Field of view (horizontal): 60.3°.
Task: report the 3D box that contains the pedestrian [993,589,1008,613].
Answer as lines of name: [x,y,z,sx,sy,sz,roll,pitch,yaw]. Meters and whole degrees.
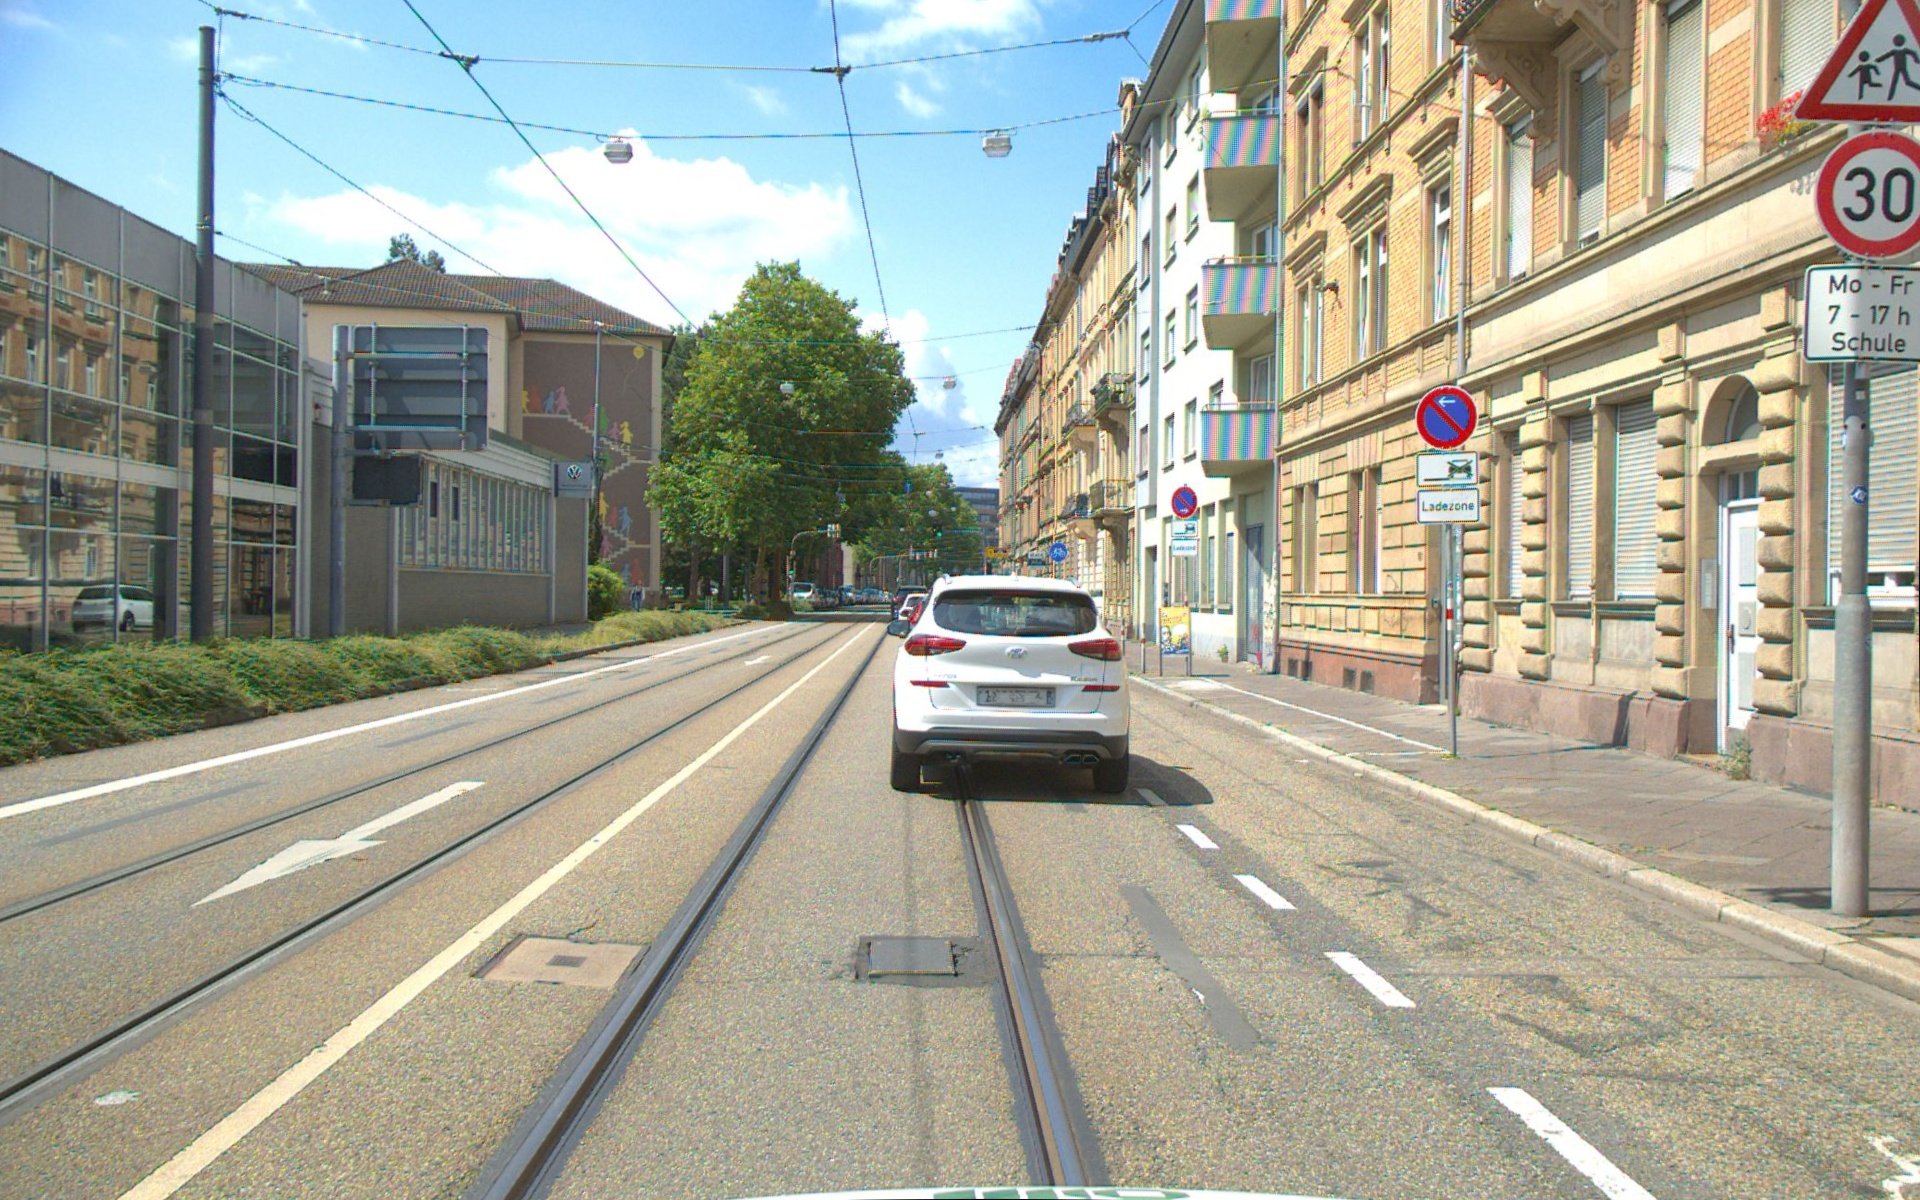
pedestrian: [2.650,0.063,107.839,0.919,1.600,1.049,1,0,-2]

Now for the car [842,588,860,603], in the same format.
car: [-12.047,-0.517,183.292,1.911,1.660,3.997,1,0,-4]

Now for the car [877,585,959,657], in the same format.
car: [-0.936,0.436,37.882,1.777,1.551,4.084,0,0,-1]

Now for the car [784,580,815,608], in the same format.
car: [-11.530,-0.454,119.105,1.911,1.928,4.564,1,0,-2]

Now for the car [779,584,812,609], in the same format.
car: [-11.248,-0.237,113.158,1.911,1.660,4.574,1,0,-2]

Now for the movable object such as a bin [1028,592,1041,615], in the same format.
movable object such as a bin: [3.814,0.189,85.133,0.600,1.163,0.638,1,0,-2]

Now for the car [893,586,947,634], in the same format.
car: [-1.345,0.324,55.703,1.778,1.551,3.954,0,0,-1]

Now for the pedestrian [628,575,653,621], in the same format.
pedestrian: [-13.404,-0.102,69.413,0.862,1.898,1.080,-1,0,-1]

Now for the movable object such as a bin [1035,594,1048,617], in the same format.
movable object such as a bin: [4.109,0.292,83.711,0.600,1.163,0.638,1,0,-2]

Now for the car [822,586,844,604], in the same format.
car: [-11.672,-0.471,152.045,1.911,1.660,3.997,1,0,-4]

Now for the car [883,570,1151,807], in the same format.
car: [0.318,0.632,14.018,1.816,1.662,4.177,2,0,-4]

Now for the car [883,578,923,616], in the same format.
car: [-2.586,-0.152,75.410,1.778,1.691,4.084,0,0,-2]
